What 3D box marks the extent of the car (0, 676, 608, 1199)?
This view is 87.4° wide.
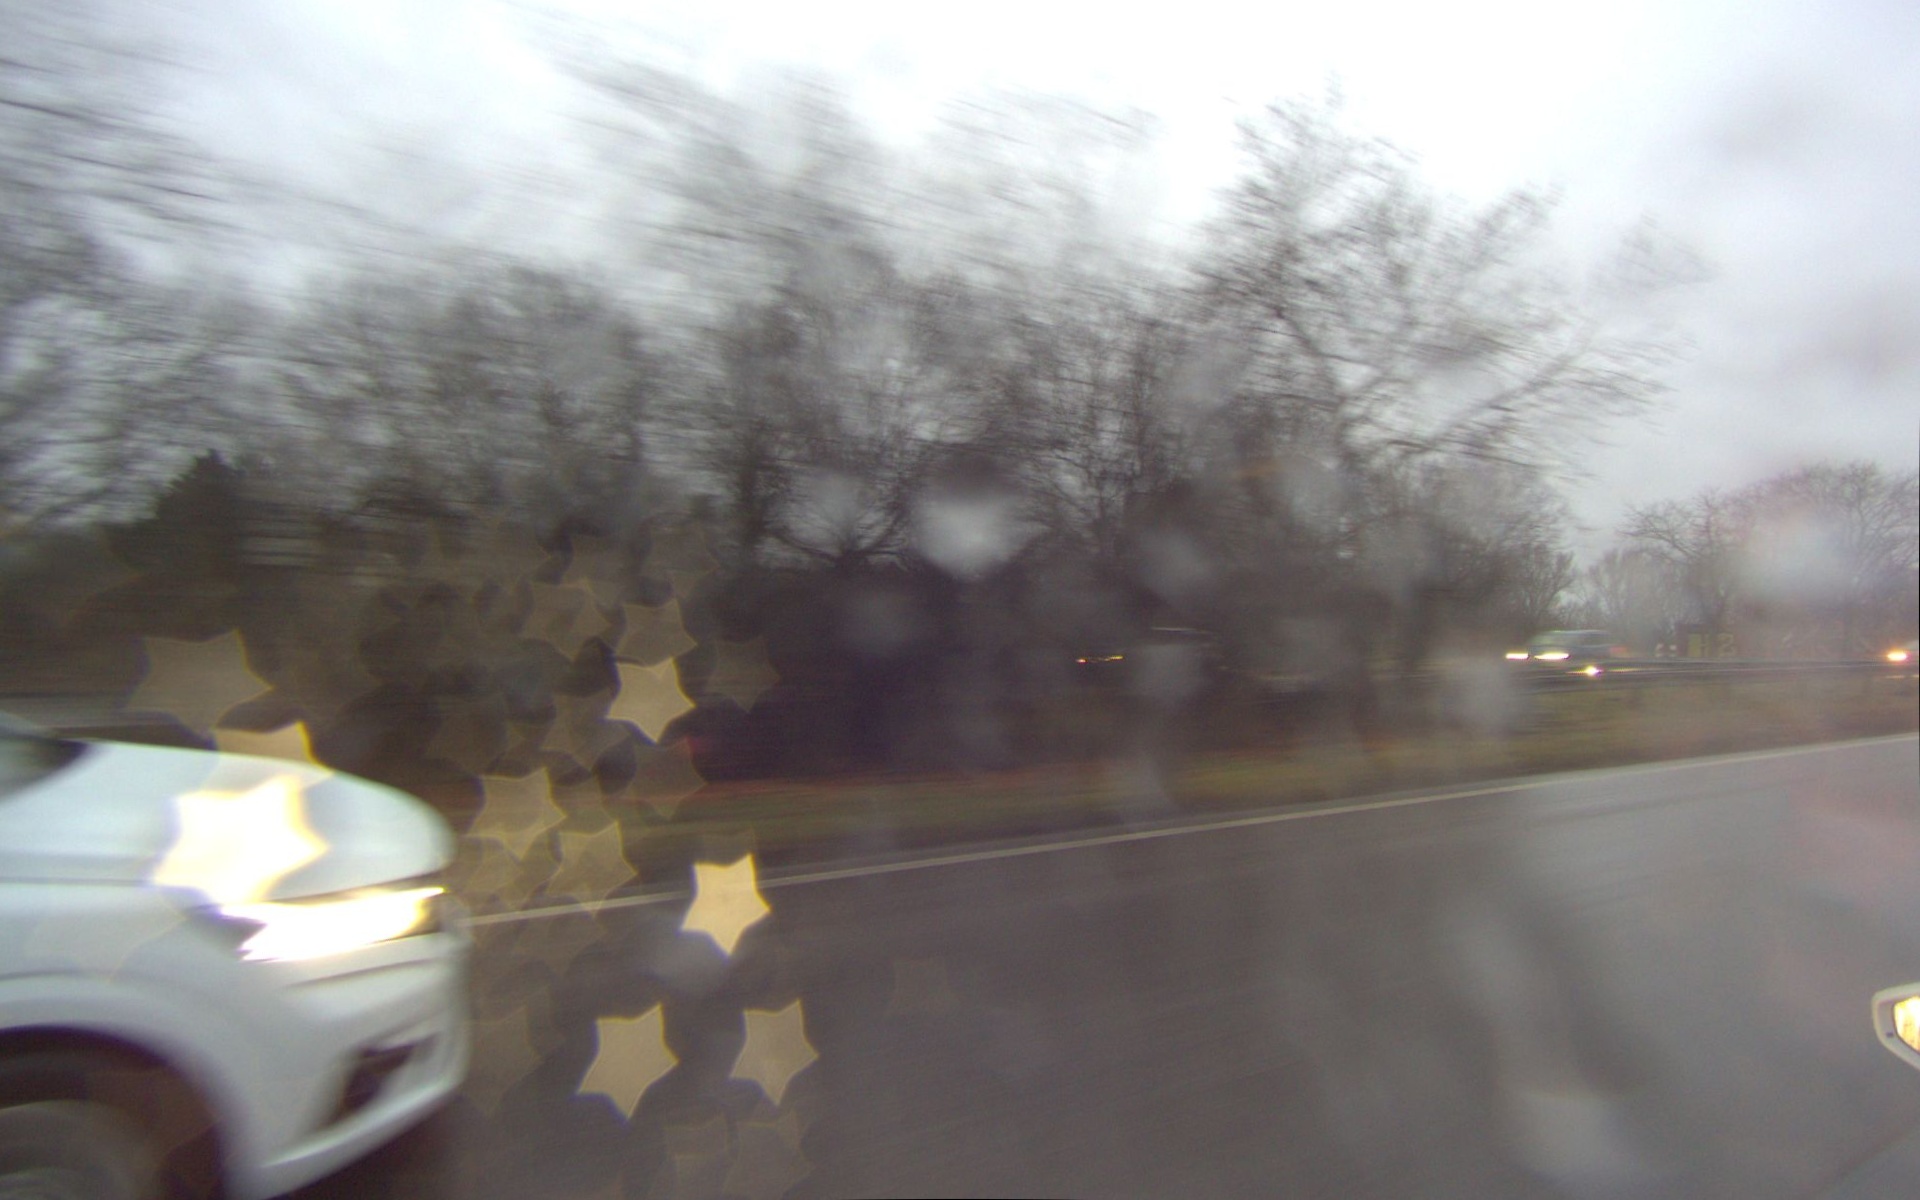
[{"bbox_3d":[-3.028,0.944,2.008,4.174,1.459,1.717,1,-3,-29],"label":"car"}]

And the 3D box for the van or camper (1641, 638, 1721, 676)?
[{"bbox_3d":[36.048,2.836,50.185,4.157,1.807,1.642,2,-2,-29],"label":"van or camper"}]

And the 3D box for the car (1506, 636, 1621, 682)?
[{"bbox_3d":[22.394,2.180,37.224,4.541,1.586,1.642,2,-2,-29],"label":"car"}]
